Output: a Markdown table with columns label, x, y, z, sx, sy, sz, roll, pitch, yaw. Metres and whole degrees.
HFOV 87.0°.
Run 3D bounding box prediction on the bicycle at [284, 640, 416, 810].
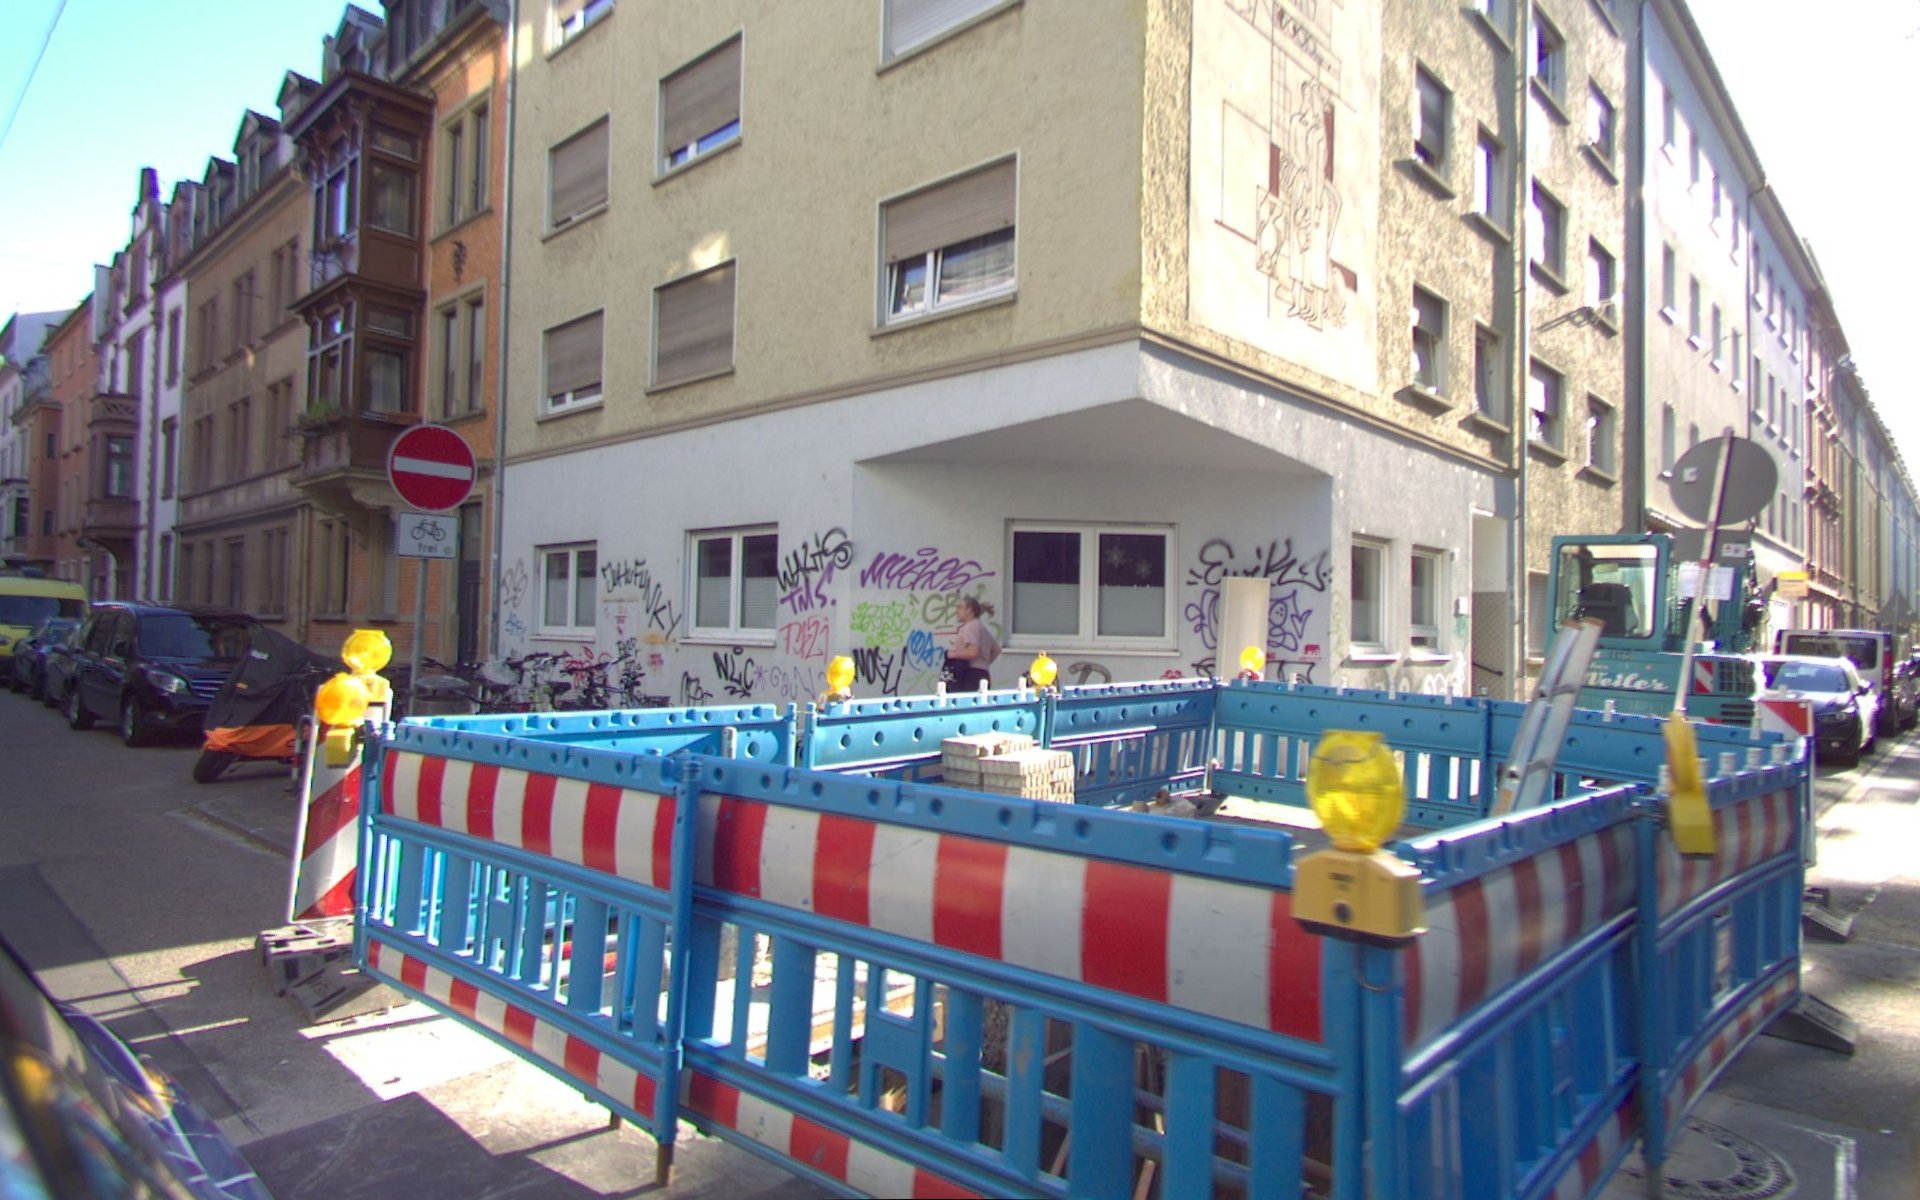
| label | x | y | z | sx | sy | sz | roll | pitch | yaw |
| --- | --- | --- | --- | --- | --- | --- | --- | --- | --- |
| bicycle | -4.854 | 0.948 | 8.021 | 1.503 | 1.237 | 0.395 | -3 | -4 | 40 |

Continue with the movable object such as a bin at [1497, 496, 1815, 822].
| label | x | y | z | sx | sy | sz | roll | pitch | yaw |
| --- | --- | --- | --- | --- | --- | --- | --- | --- | --- |
| movable object such as a bin | 6.801 | 0.536 | 9.845 | 2.720 | 2.621 | 2.071 | 3 | -3 | -45 |

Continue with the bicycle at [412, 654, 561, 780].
| label | x | y | z | sx | sy | sz | roll | pitch | yaw |
| --- | --- | --- | --- | --- | --- | --- | --- | --- | --- |
| bicycle | -4.945 | 1.167 | 10.521 | 1.868 | 1.164 | 0.541 | 0 | -3 | 36 |

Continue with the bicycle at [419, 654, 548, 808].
| label | x | y | z | sx | sy | sz | roll | pitch | yaw |
| --- | --- | --- | --- | --- | --- | --- | --- | --- | --- |
| bicycle | -4.167 | 1.089 | 8.804 | 1.552 | 1.237 | 0.360 | -3 | -4 | 40 |

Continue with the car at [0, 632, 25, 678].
| label | x | y | z | sx | sy | sz | roll | pitch | yaw |
| --- | --- | --- | --- | --- | --- | --- | --- | --- | --- |
| car | -30.098 | 1.616 | 31.008 | 3.609 | 1.337 | 1.601 | -1 | -6 | 40 |

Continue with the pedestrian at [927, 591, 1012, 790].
| label | x | y | z | sx | sy | sz | roll | pitch | yaw |
| --- | --- | --- | --- | --- | --- | --- | --- | --- | --- |
| pedestrian | 0.093 | 0.806 | 9.289 | 0.557 | 1.754 | 0.519 | -1 | -3 | 36 |

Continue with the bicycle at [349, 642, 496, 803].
| label | x | y | z | sx | sy | sz | roll | pitch | yaw |
| --- | --- | --- | --- | --- | --- | --- | --- | --- | --- |
| bicycle | -4.573 | 0.985 | 8.551 | 1.872 | 1.237 | 0.395 | -3 | -4 | 40 |

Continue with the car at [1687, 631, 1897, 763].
| label | x | y | z | sx | sy | sz | roll | pitch | yaw |
| --- | --- | --- | --- | --- | --- | --- | --- | --- | --- |
| car | 12.378 | 1.324 | 14.960 | 4.141 | 1.578 | 1.911 | 3 | -1 | -44 |

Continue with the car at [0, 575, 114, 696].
| label | x | y | z | sx | sy | sz | roll | pitch | yaw |
| --- | --- | --- | --- | --- | --- | --- | --- | --- | --- |
| car | -21.903 | 0.831 | 23.653 | 5.874 | 2.527 | 2.153 | -1 | -5 | 40 |

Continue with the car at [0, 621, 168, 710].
| label | x | y | z | sx | sy | sz | roll | pitch | yaw |
| --- | --- | --- | --- | --- | --- | --- | --- | --- | --- |
| car | -17.333 | 1.231 | 19.890 | 3.997 | 1.564 | 1.973 | -1 | -3 | 40 |

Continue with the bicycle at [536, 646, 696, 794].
| label | x | y | z | sx | sy | sz | roll | pitch | yaw |
| --- | --- | --- | --- | --- | --- | --- | --- | --- | --- |
| bicycle | -3.197 | 1.048 | 9.286 | 2.028 | 1.237 | 0.395 | -3 | -4 | 40 |

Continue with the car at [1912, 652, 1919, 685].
| label | x | y | z | sx | sy | sz | roll | pitch | yaw |
| --- | --- | --- | --- | --- | --- | --- | --- | --- | --- |
| car | 49.303 | 3.467 | 50.925 | 3.940 | 1.635 | 1.801 | 3 | -3 | -44 |

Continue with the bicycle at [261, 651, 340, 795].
| label | x | y | z | sx | sy | sz | roll | pitch | yaw |
| --- | --- | --- | --- | --- | --- | --- | --- | --- | --- |
| bicycle | -5.903 | 1.055 | 9.036 | 0.371 | 1.164 | 1.293 | 3 | -3 | -41 |

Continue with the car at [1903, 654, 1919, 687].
| label | x | y | z | sx | sy | sz | roll | pitch | yaw |
| --- | --- | --- | --- | --- | --- | --- | --- | --- | --- |
| car | 45.693 | 3.323 | 47.535 | 3.940 | 1.503 | 1.801 | 3 | -3 | -44 |

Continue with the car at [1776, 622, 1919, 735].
| label | x | y | z | sx | sy | sz | roll | pitch | yaw |
| --- | --- | --- | --- | --- | --- | --- | --- | --- | --- |
| car | 17.818 | 1.485 | 20.142 | 2.001 | 1.954 | 4.544 | -1 | -3 | 45 |

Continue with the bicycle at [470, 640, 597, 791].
| label | x | y | z | sx | sy | sz | roll | pitch | yaw |
| --- | --- | --- | --- | --- | --- | --- | --- | --- | --- |
| bicycle | -3.818 | 0.989 | 8.996 | 1.698 | 1.237 | 0.291 | -3 | -4 | 40 |

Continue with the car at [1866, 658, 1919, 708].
| label | x | y | z | sx | sy | sz | roll | pitch | yaw |
| --- | --- | --- | --- | --- | --- | --- | --- | --- | --- |
| car | 30.619 | 2.640 | 32.637 | 3.940 | 1.503 | 1.801 | 3 | -3 | -44 |

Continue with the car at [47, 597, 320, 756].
| label | x | y | z | sx | sy | sz | roll | pitch | yaw |
| --- | --- | --- | --- | --- | --- | --- | --- | --- | --- |
| car | -10.373 | 0.910 | 13.414 | 4.329 | 1.780 | 1.801 | -1 | -3 | 38 |

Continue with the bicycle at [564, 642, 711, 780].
| label | x | y | z | sx | sy | sz | roll | pitch | yaw |
| --- | --- | --- | --- | --- | --- | --- | --- | --- | --- |
| bicycle | -3.170 | 1.045 | 9.862 | 1.813 | 1.237 | 0.395 | -3 | -4 | 38 |

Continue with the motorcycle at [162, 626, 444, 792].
| label | x | y | z | sx | sy | sz | roll | pitch | yaw |
| --- | --- | --- | --- | --- | --- | --- | --- | --- | --- |
| motorcycle | -6.676 | 1.030 | 10.522 | 0.895 | 1.493 | 2.509 | 0 | -2 | 14 |

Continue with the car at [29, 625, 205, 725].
| label | x | y | z | sx | sy | sz | roll | pitch | yaw |
| --- | --- | --- | --- | --- | --- | --- | --- | --- | --- |
| car | -14.048 | 1.156 | 16.812 | 3.642 | 1.460 | 1.659 | -1 | -2 | 41 |
